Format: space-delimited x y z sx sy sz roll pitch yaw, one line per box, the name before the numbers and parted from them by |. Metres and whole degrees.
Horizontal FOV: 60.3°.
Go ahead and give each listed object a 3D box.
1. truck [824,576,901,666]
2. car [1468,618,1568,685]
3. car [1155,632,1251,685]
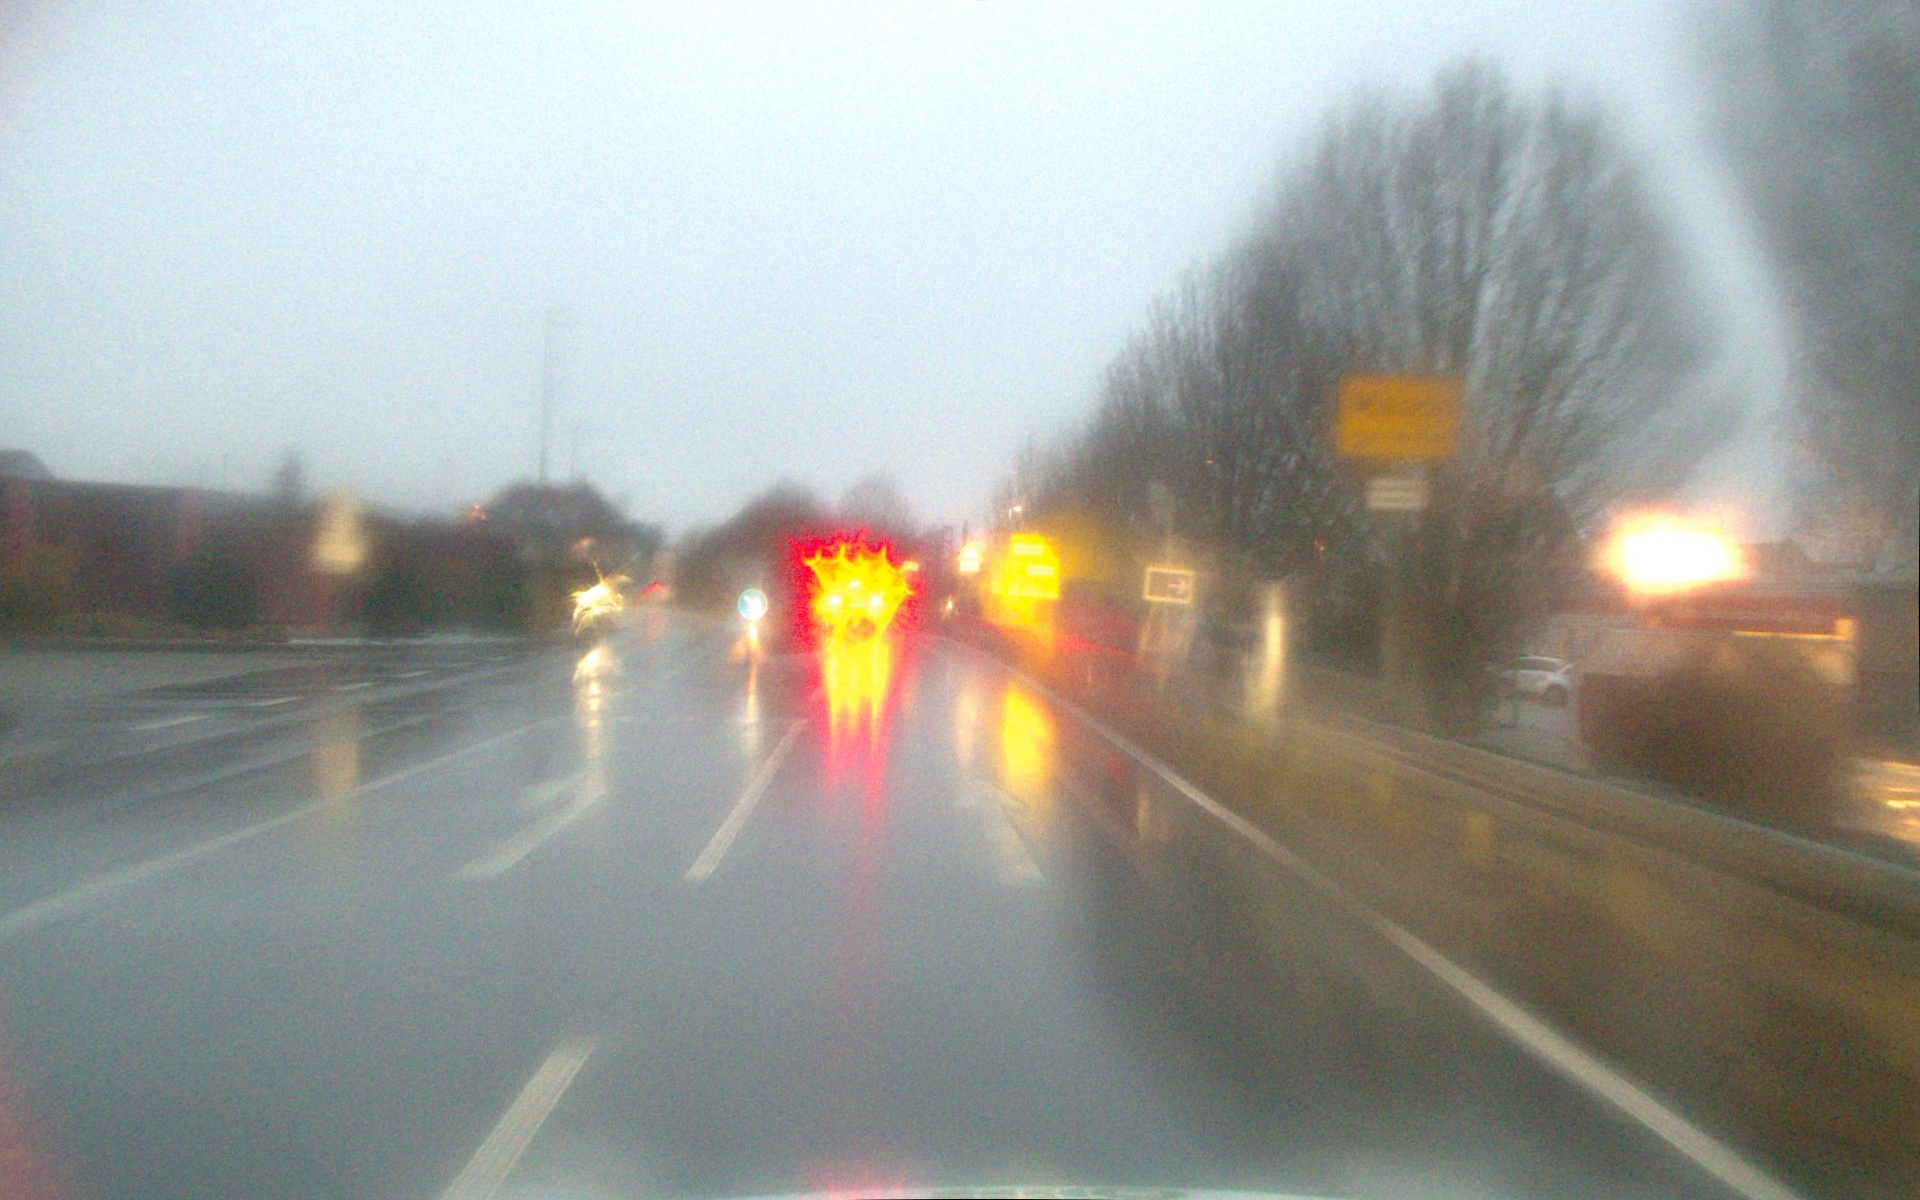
truck | -3.469 0.693 58.730 2.482 2.919 5.918 2 0 -4
car | 18.879 1.701 56.133 1.953 2.048 3.999 2 0 -1
car | 10.198 2.470 69.662 3.902 2.049 2.001 2 -3 6
